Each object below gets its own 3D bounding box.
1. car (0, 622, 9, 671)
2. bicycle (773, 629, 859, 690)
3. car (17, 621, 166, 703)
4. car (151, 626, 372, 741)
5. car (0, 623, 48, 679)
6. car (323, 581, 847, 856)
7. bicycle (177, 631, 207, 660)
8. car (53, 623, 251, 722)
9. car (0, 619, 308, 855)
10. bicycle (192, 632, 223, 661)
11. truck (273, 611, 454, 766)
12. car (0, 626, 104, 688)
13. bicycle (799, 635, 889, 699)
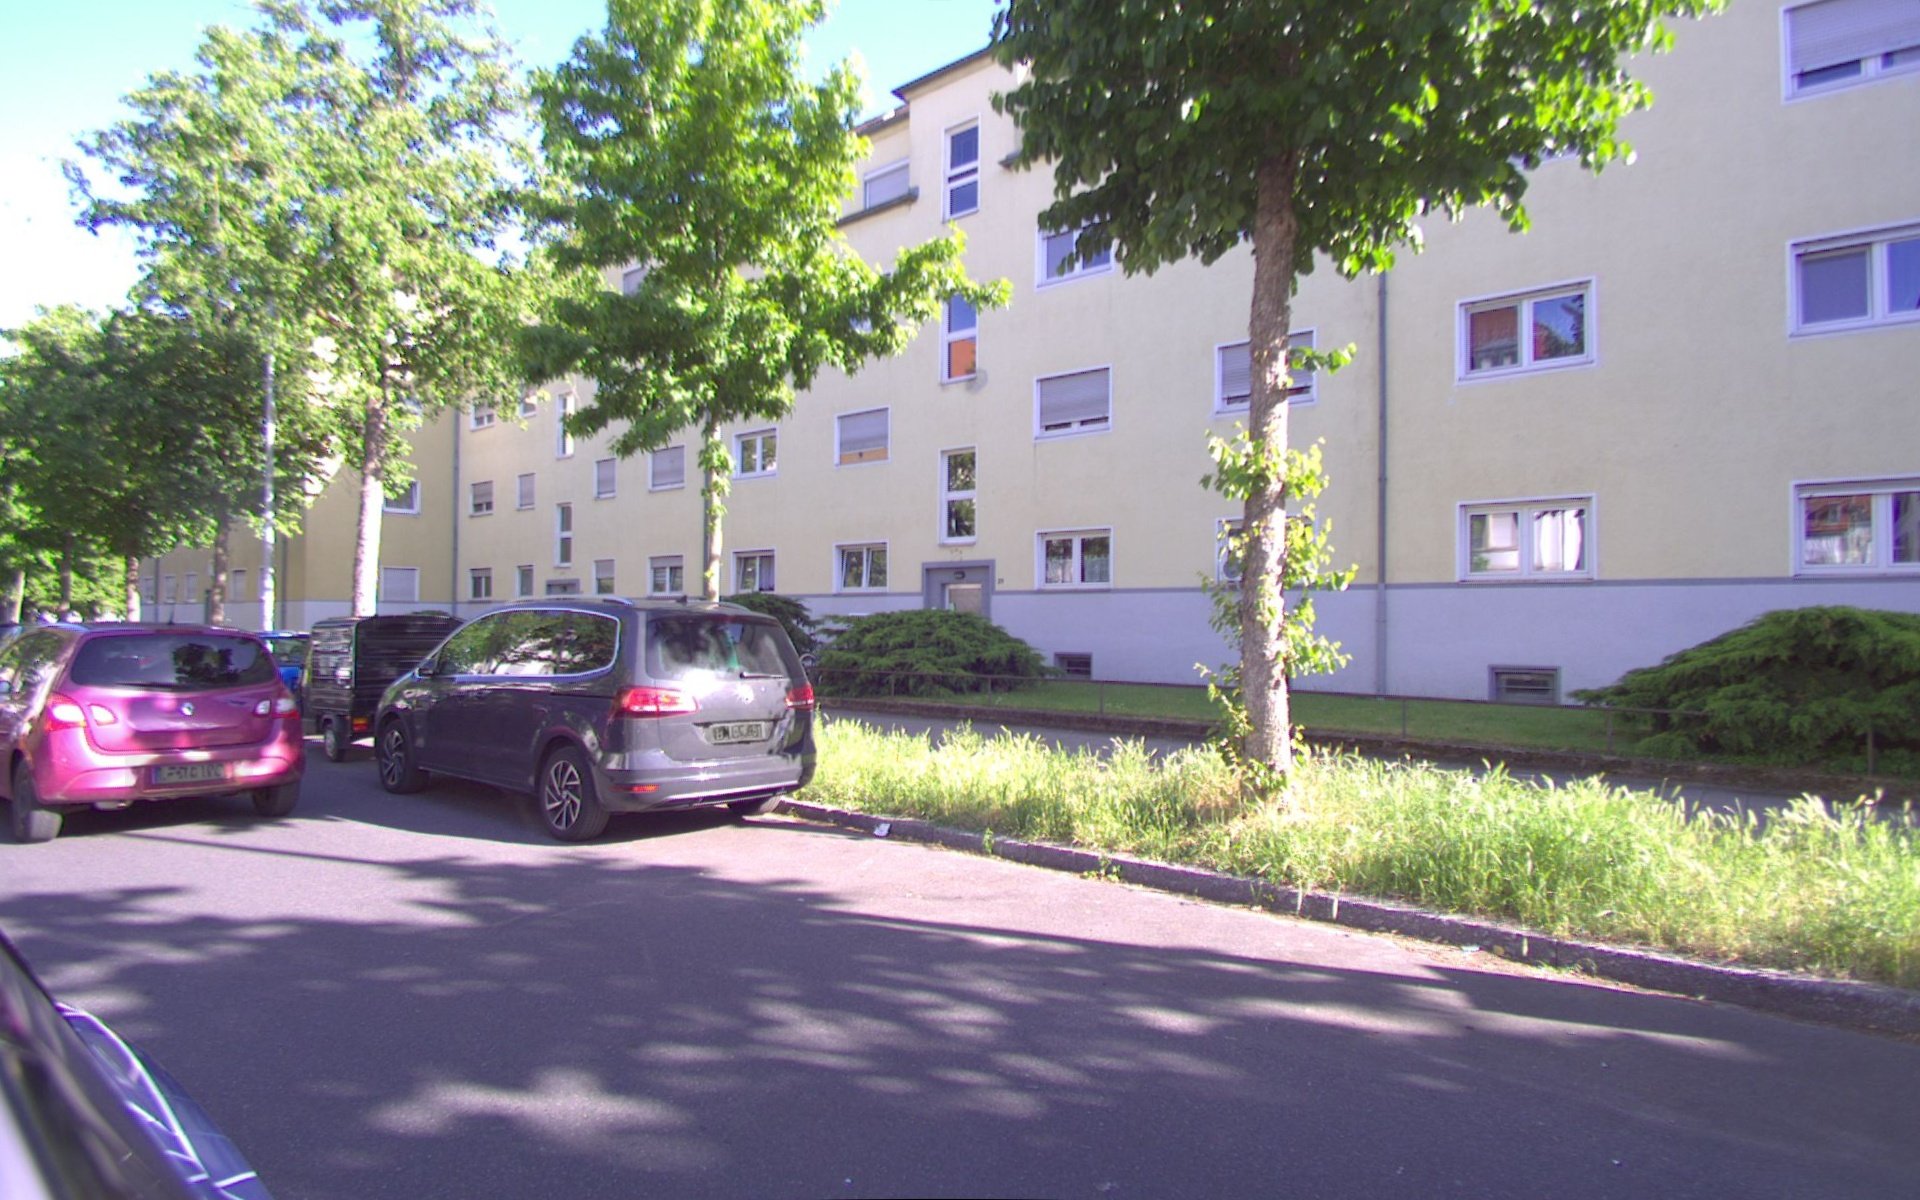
[{"bbox_3d":[-30.652,1.419,31.107,3.253,1.497,1.648,-1,-3,40],"label":"car"},{"bbox_3d":[-2.858,1.169,20.203,0.486,1.089,1.819,0,1,42],"label":"bicycle"},{"bbox_3d":[-17.967,1.242,20.875,4.266,1.527,1.604,-1,-5,40],"label":"car"},{"bbox_3d":[-9.893,1.087,14.244,3.722,1.406,1.506,-1,-2,38],"label":"car"},{"bbox_3d":[-26.804,1.380,28.082,3.929,1.470,1.648,-1,-3,40],"label":"car"},{"bbox_3d":[-3.378,0.835,8.553,4.971,1.693,1.831,-1,-5,39],"label":"car"},{"bbox_3d":[-29.053,1.710,38.291,1.747,1.034,0.534,-1,-2,41],"label":"bicycle"},{"bbox_3d":[-13.769,1.158,17.147,4.685,1.455,1.773,-1,-4,41],"label":"car"},{"bbox_3d":[-6.496,0.888,7.744,3.172,1.437,1.491,-1,-3,37],"label":"car"},{"bbox_3d":[-27.562,1.681,37.064,1.747,1.034,0.530,-1,-2,41],"label":"bicycle"},{"bbox_3d":[-6.866,0.940,11.595,2.431,1.589,1.072,-1,-3,42],"label":"truck"},{"bbox_3d":[-22.532,1.341,24.662,4.670,1.379,1.728,-1,-3,40],"label":"car"},{"bbox_3d":[-2.056,1.186,18.184,0.486,1.089,1.823,-1,-2,36],"label":"bicycle"}]
